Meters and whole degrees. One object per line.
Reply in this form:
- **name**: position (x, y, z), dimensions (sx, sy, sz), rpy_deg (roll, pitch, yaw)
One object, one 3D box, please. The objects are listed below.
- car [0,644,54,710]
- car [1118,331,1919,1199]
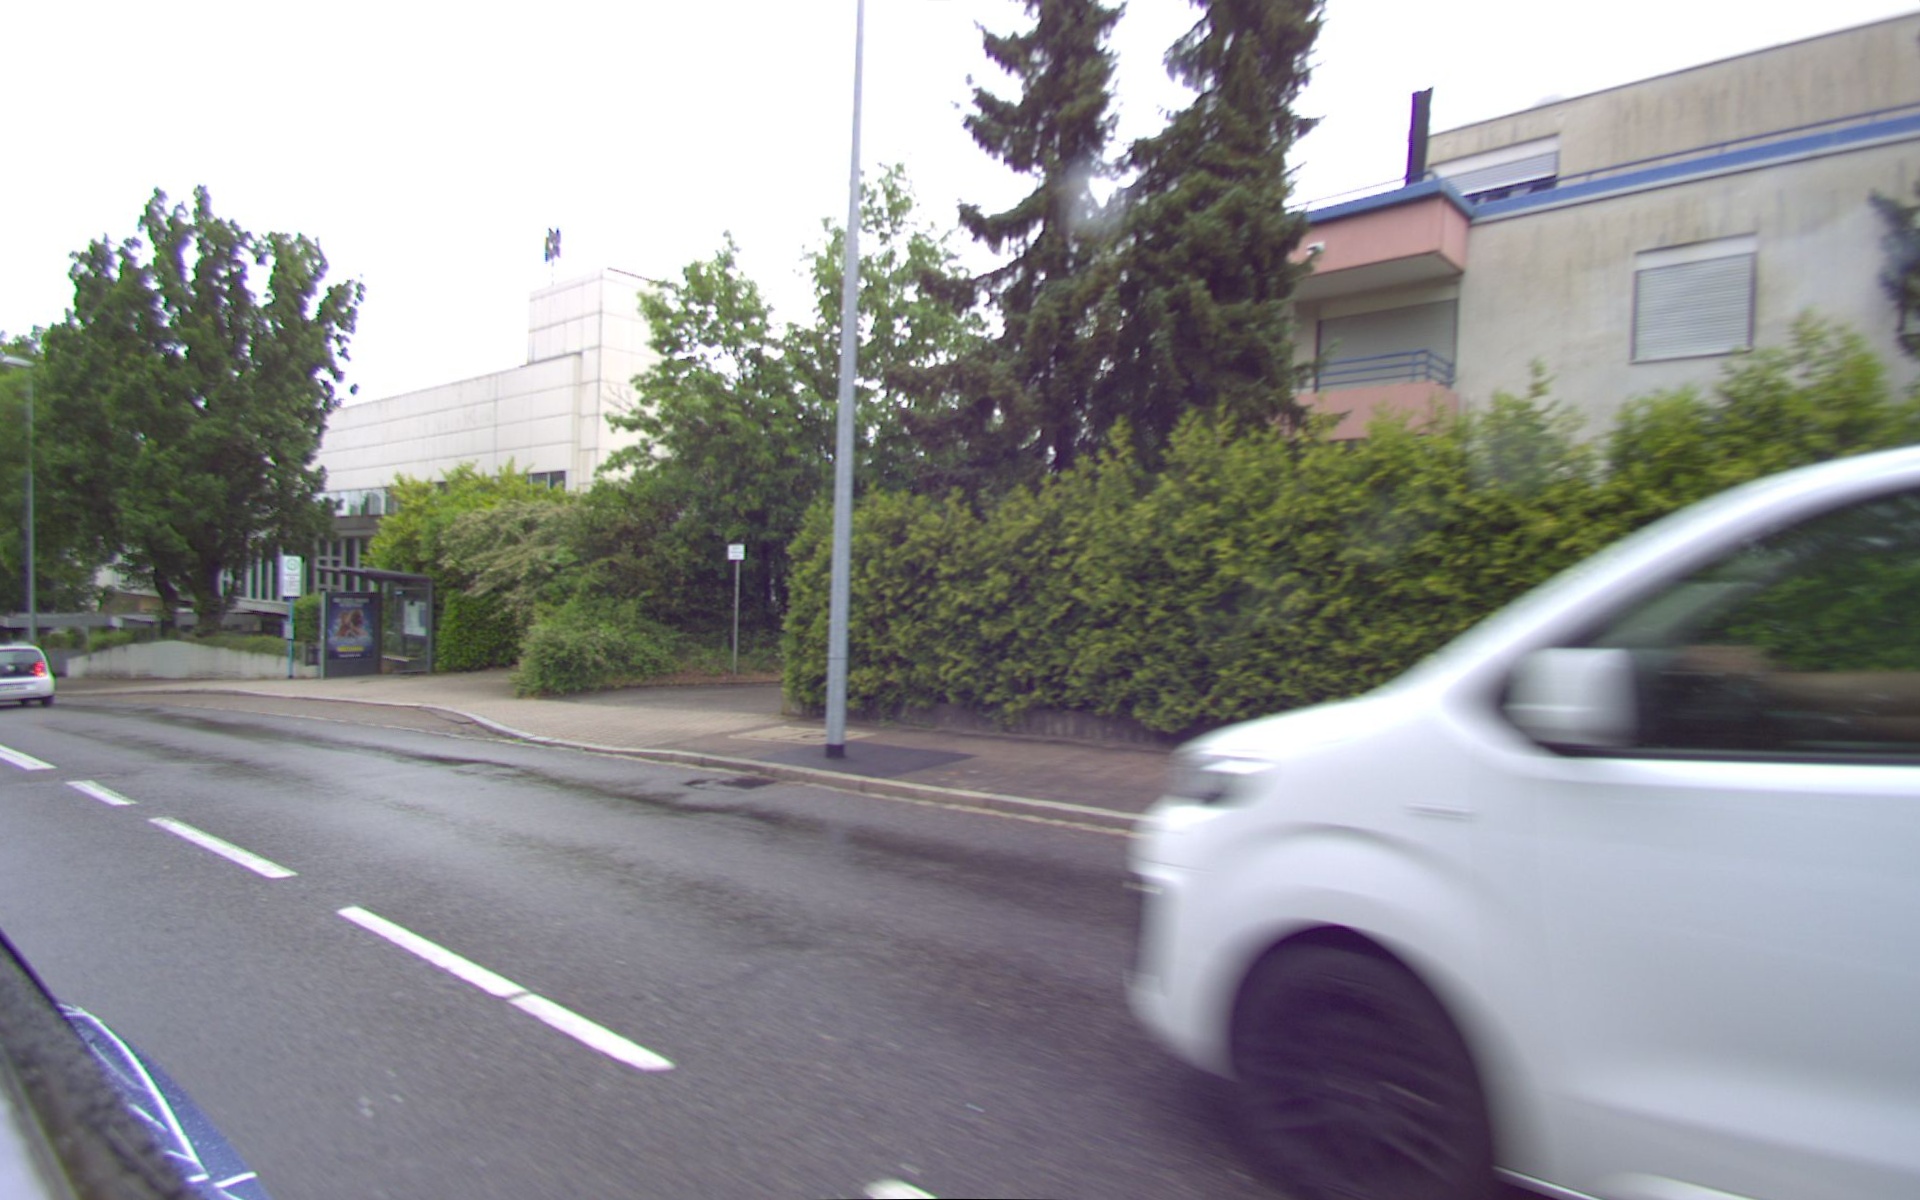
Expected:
- **car**: position (-23.011, 1.809, 24.061), dimensions (3.394, 1.465, 1.669), rpy_deg (-3, -2, 39)
- **car**: position (2.926, 0.514, 1.853), dimensions (5.027, 1.931, 1.843), rpy_deg (-2, -4, 42)
